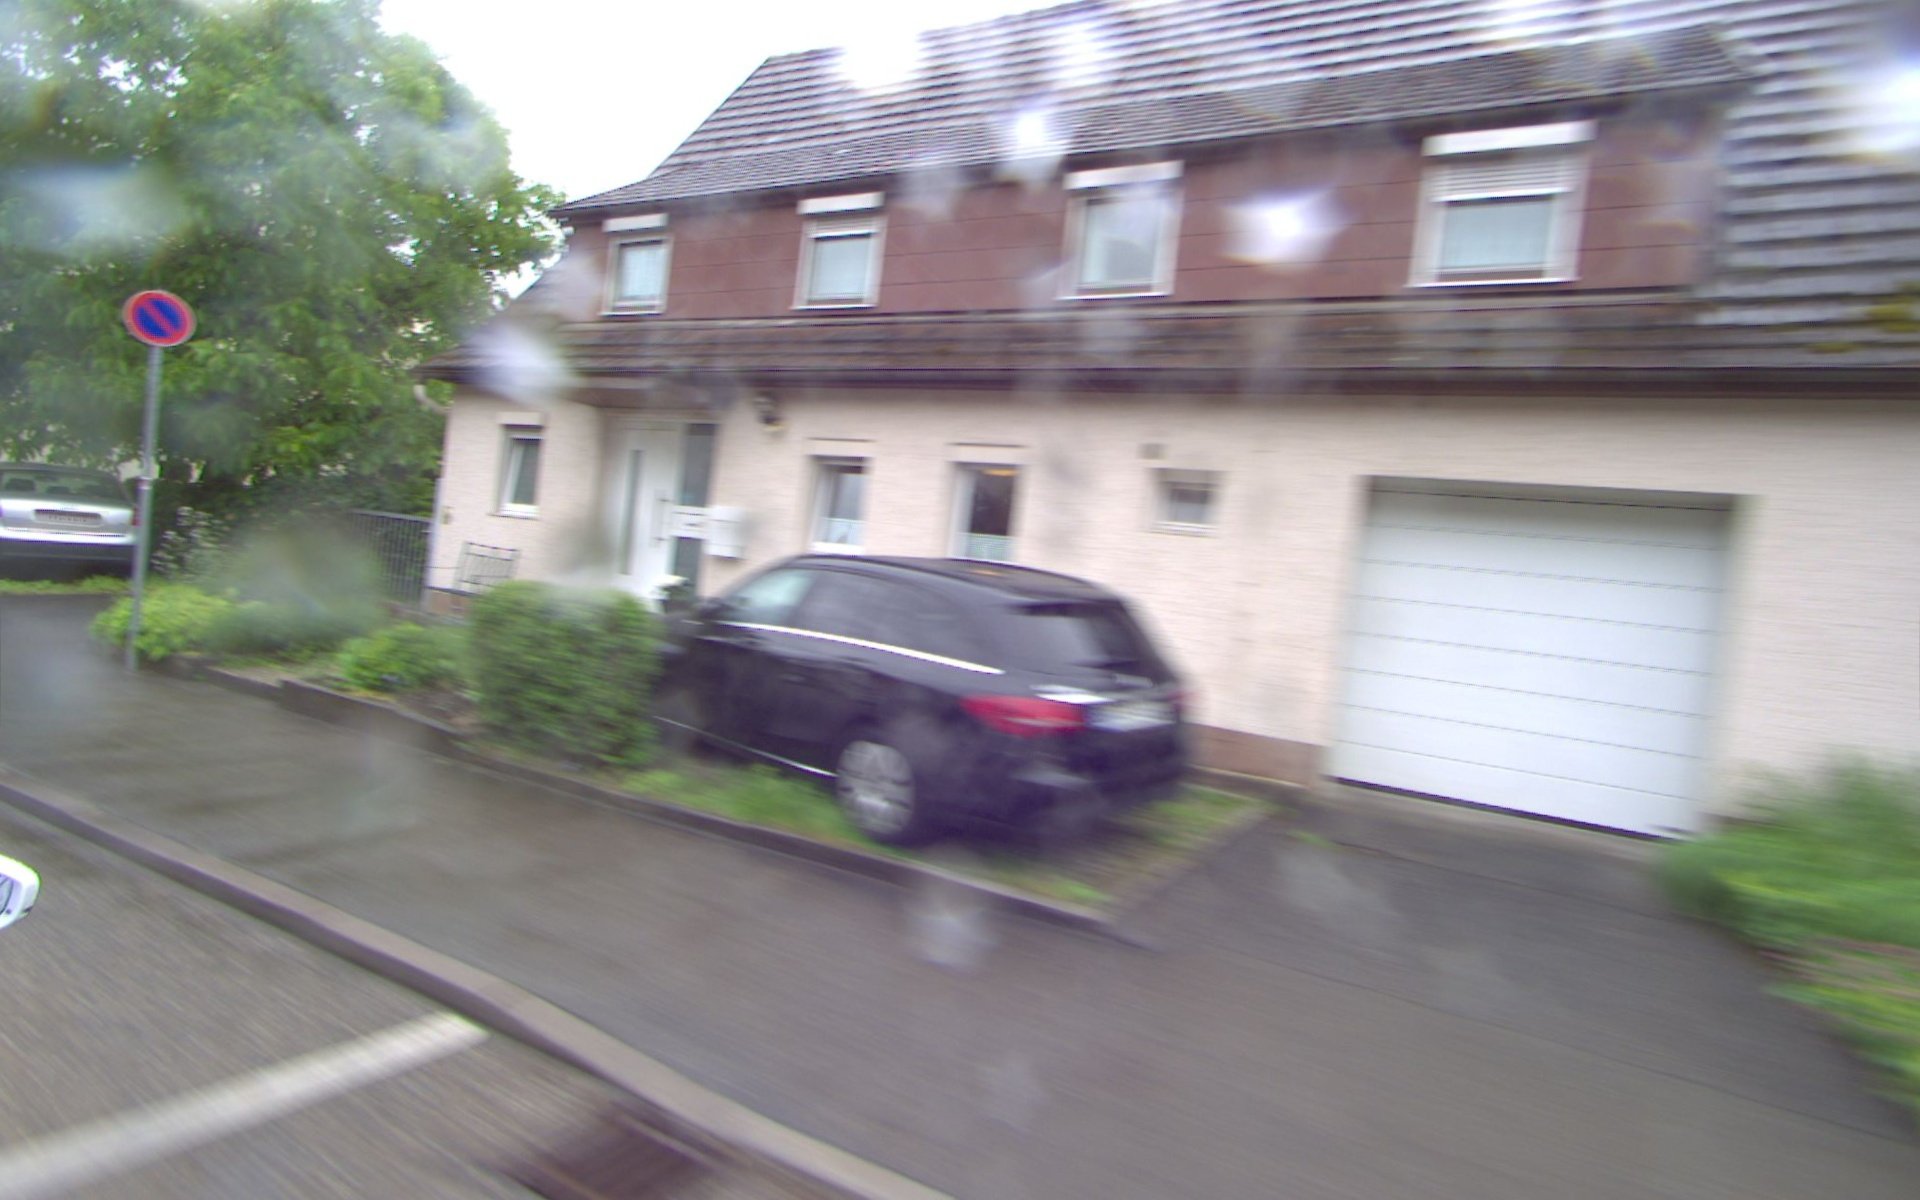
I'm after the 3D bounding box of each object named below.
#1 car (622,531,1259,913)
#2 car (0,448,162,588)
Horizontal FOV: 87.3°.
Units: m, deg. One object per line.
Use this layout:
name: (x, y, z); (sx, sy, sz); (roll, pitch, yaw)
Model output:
car: (-0.417, 0.413, 6.254); (1.749, 1.414, 3.950); (-1, 7, -42)
car: (-11.930, -1.106, 12.687); (3.615, 1.448, 1.640); (7, 0, 30)
